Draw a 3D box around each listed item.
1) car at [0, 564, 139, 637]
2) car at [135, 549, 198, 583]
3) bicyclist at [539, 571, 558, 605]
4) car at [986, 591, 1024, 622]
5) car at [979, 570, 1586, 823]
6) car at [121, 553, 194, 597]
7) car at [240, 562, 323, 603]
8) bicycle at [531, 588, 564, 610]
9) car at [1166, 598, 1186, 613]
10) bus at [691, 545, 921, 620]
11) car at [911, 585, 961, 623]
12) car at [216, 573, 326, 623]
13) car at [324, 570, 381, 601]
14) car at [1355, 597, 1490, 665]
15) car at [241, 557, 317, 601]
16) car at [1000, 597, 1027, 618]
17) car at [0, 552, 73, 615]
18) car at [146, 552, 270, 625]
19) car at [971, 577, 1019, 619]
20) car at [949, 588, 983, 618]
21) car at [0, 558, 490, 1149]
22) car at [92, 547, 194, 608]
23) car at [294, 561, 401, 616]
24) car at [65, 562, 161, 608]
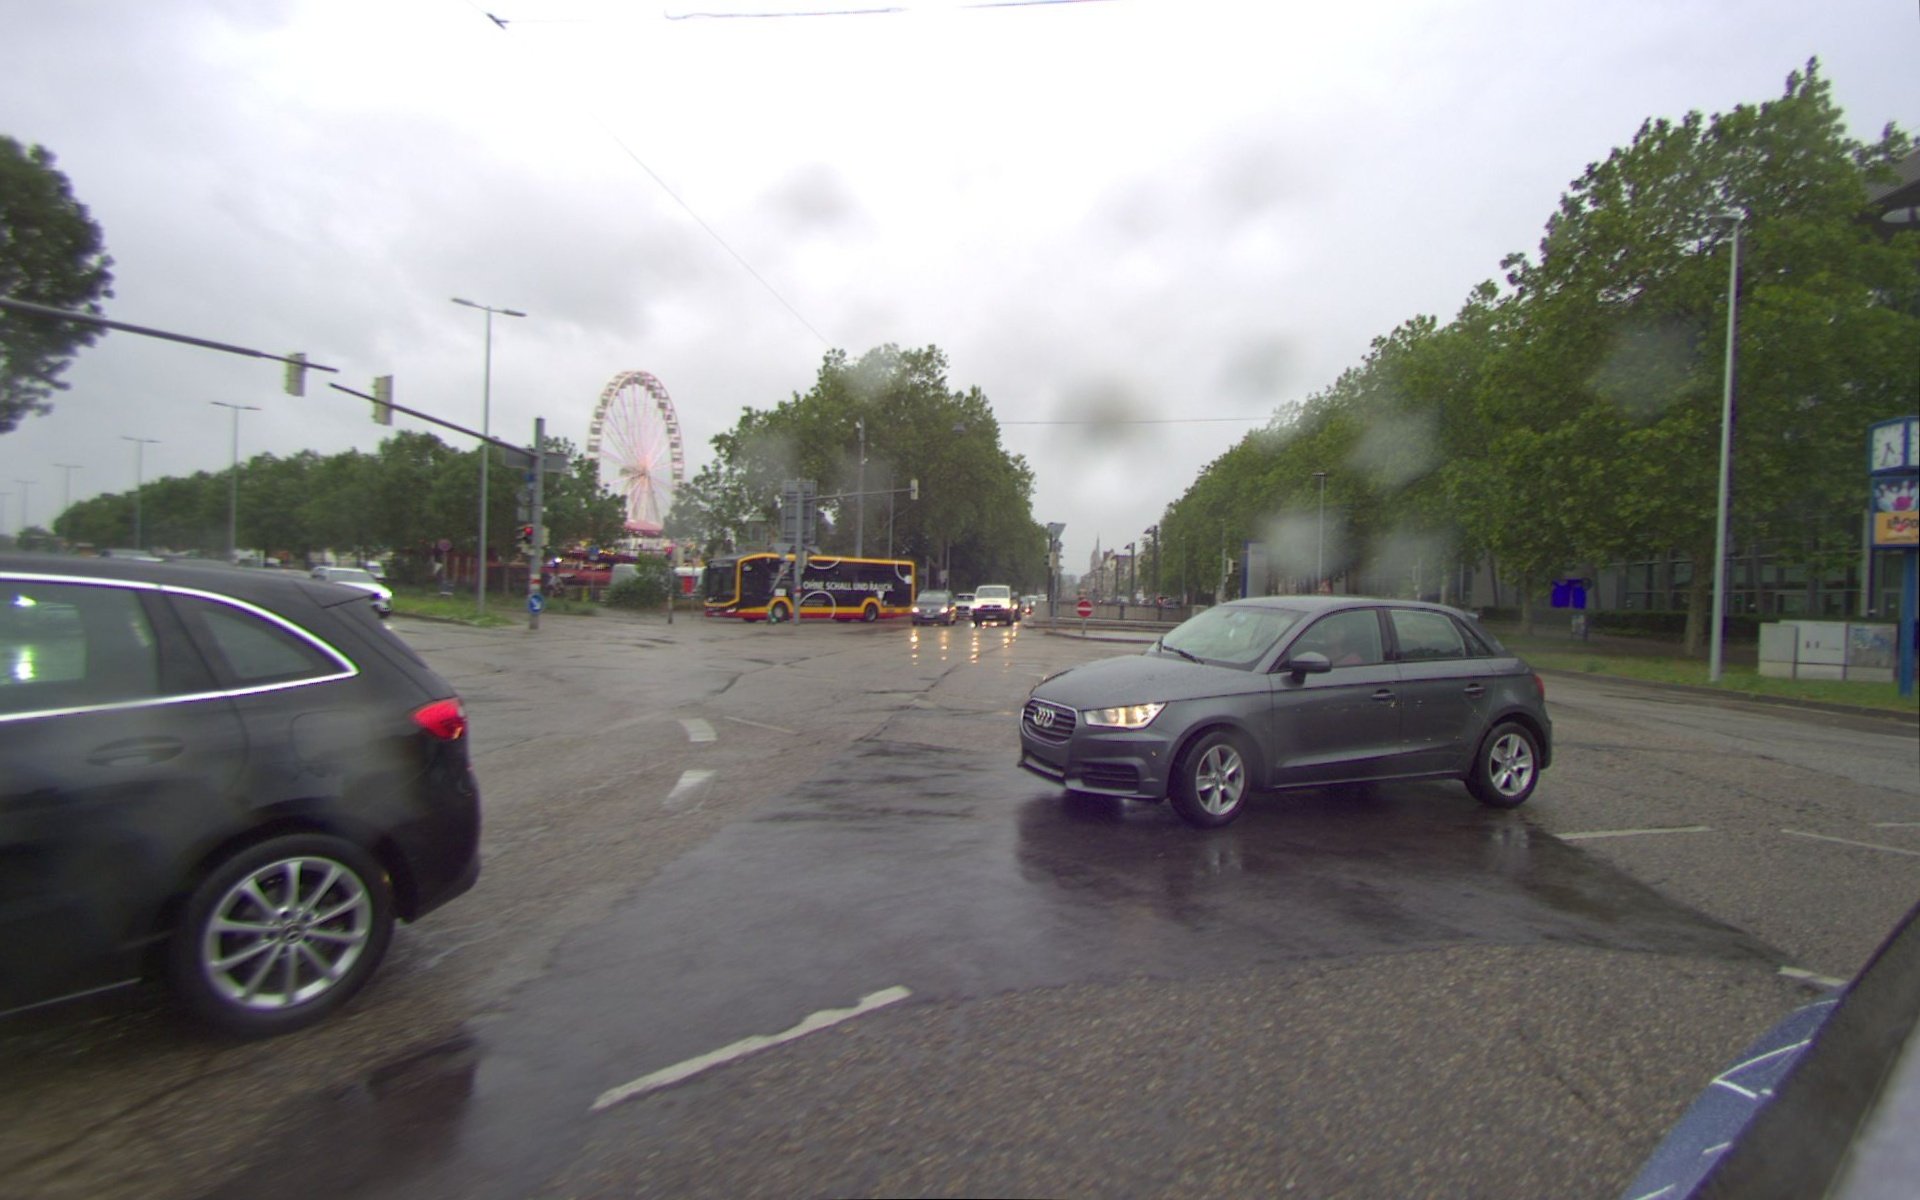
[{"bbox_3d":[-19.796,-0.025,22.344,3.983,1.366,1.871,3,2,40],"label":"car"},{"bbox_3d":[-43.953,-1.908,56.051,3.982,1.742,1.917,3,1,39],"label":"car"},{"bbox_3d":[-23.566,-0.687,57.931,0.619,1.905,0.759,2,1,40],"label":"bicyclist"},{"bbox_3d":[2.702,0.359,61.951,2.038,1.756,4.747,2,1,-1],"label":"car"},{"bbox_3d":[2.210,0.613,7.162,3.674,1.416,1.846,3,0,-20],"label":"car"},{"bbox_3d":[-34.425,-1.095,43.390,3.986,1.742,1.822,3,1,42],"label":"car"},{"bbox_3d":[-26.452,-0.705,39.424,3.986,1.441,1.815,3,1,43],"label":"car"},{"bbox_3d":[-23.632,-0.077,57.995,2.250,1.179,0.810,3,1,40],"label":"bicycle"},{"bbox_3d":[23.573,0.593,110.476,1.811,1.571,3.991,2,1,8],"label":"car"},{"bbox_3d":[-7.308,-0.793,50.585,3.262,3.309,12.105,2,1,41],"label":"bus"},{"bbox_3d":[-1.108,0.135,48.317,1.900,1.671,4.336,2,1,5],"label":"car"},{"bbox_3d":[-21.673,-0.075,31.783,3.982,1.375,1.806,3,1,40],"label":"car"},{"bbox_3d":[-33.544,-0.797,55.848,3.608,1.510,1.658,3,0,42],"label":"car"},{"bbox_3d":[12.909,0.797,28.549,1.870,1.652,4.169,2,1,1],"label":"car"},{"bbox_3d":[-29.107,-0.913,43.221,3.982,1.742,1.582,3,1,40],"label":"car"},{"bbox_3d":[4.337,0.568,82.242,1.962,1.558,4.000,2,1,0],"label":"car"},{"bbox_3d":[-24.753,-0.467,26.381,3.982,1.501,1.807,3,1,39],"label":"car"},{"bbox_3d":[-19.227,-0.314,25.811,1.995,1.677,4.051,1,1,-44],"label":"car"},{"bbox_3d":[1.764,-0.135,49.741,2.042,1.872,4.740,2,1,5],"label":"car"},{"bbox_3d":[0.331,0.167,64.459,1.854,1.776,4.003,2,1,-3],"label":"car"},{"bbox_3d":[-3.712,0.630,2.729,1.870,1.542,4.023,3,1,43],"label":"car"},{"bbox_3d":[-24.049,-0.683,29.753,3.988,1.630,1.832,3,1,44],"label":"car"},{"bbox_3d":[-21.228,-0.420,35.005,4.290,1.742,2.142,3,1,44],"label":"car"},{"bbox_3d":[-28.062,-0.511,33.497,3.983,1.375,1.806,3,1,41],"label":"car"}]
